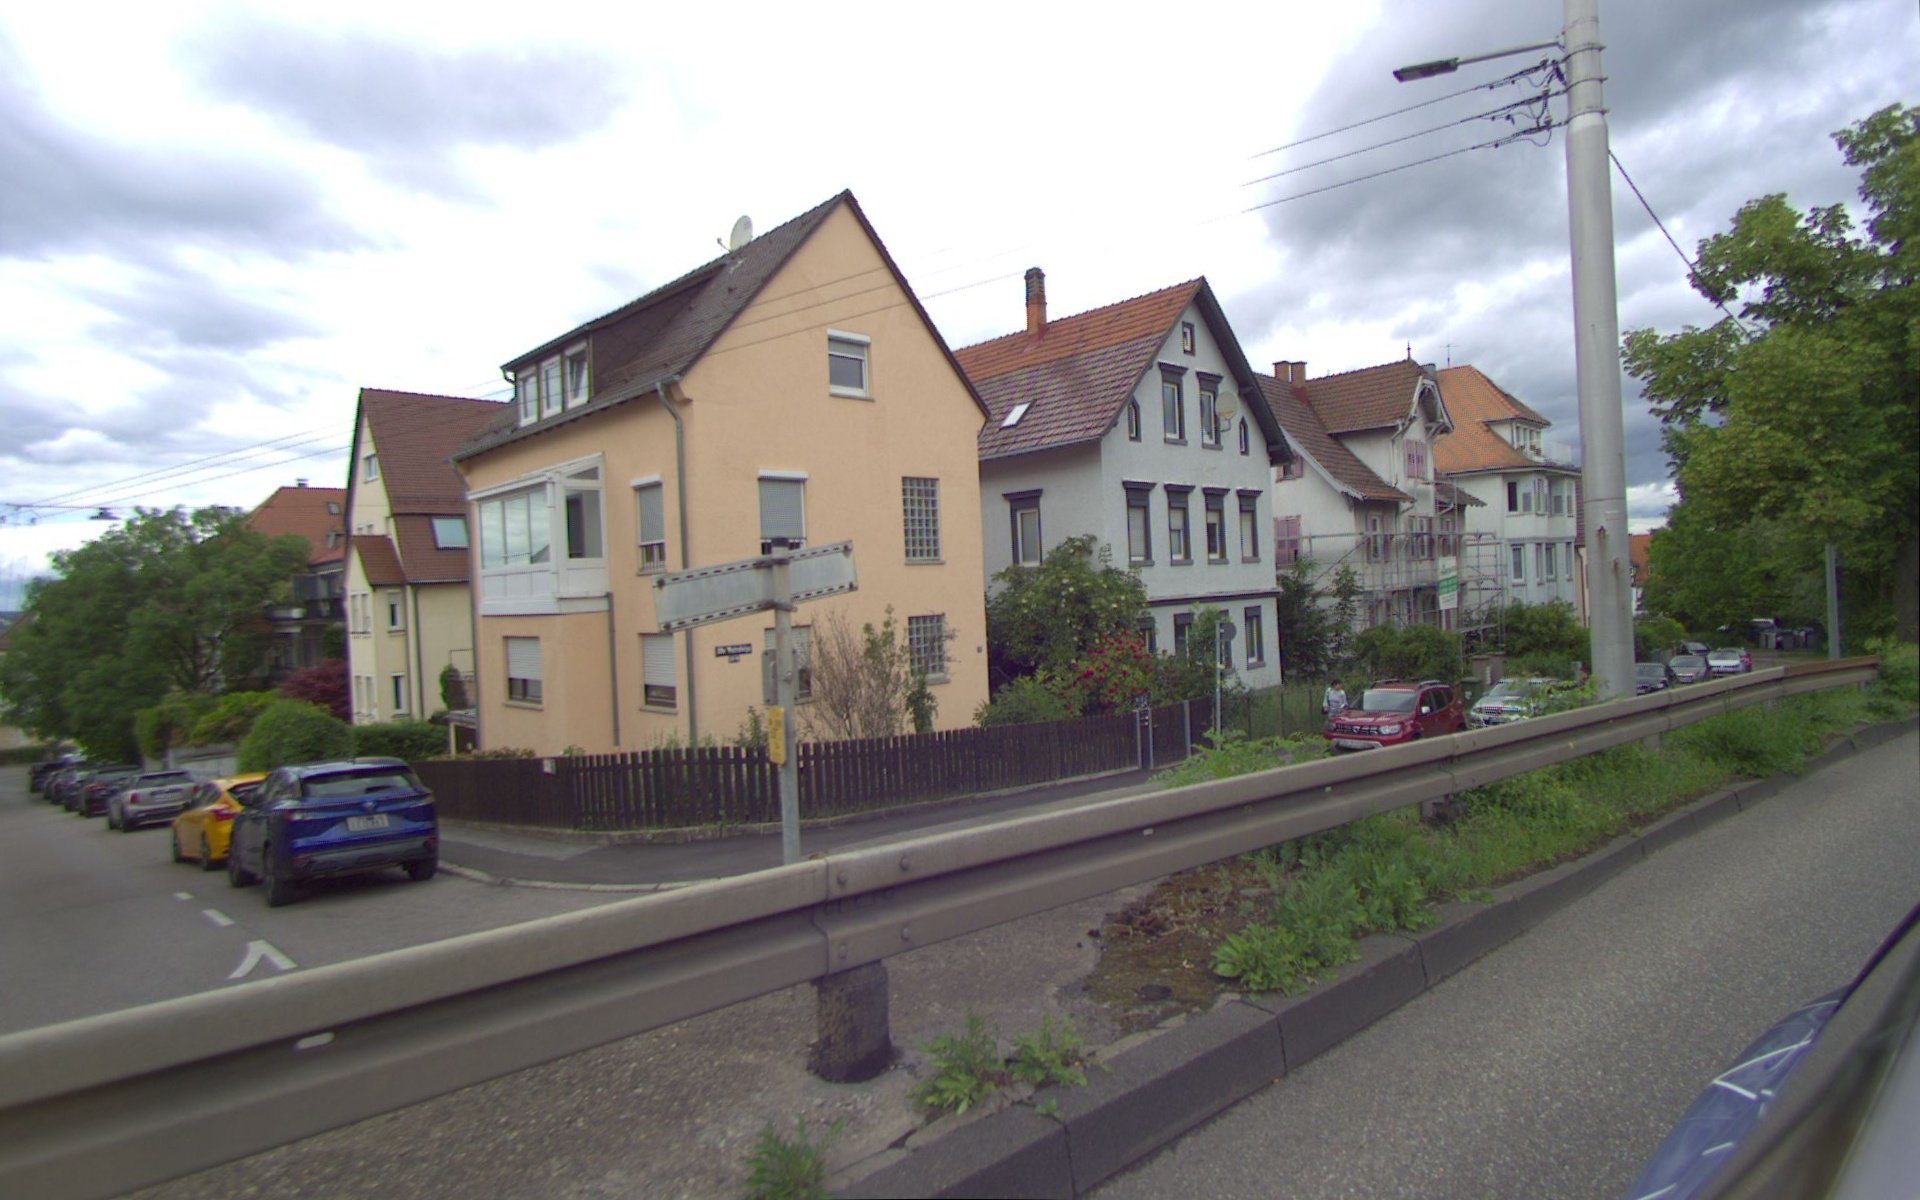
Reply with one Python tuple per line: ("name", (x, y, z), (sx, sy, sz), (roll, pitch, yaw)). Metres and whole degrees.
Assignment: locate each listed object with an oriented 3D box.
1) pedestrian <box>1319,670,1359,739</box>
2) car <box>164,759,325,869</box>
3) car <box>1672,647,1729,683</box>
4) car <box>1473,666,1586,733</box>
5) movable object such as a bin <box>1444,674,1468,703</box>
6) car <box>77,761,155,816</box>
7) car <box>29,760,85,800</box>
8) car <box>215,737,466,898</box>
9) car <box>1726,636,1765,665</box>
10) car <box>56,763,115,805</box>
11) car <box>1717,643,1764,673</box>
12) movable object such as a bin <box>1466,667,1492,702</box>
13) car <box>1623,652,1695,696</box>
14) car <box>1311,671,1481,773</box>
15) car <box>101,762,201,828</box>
("pedestrian", (8.620, 2.365, 23.013), (0.579, 1.500, 0.618), (1, -3, -43))
("car", (-12.414, 3.625, 17.463), (1.650, 1.481, 3.986), (1, -8, -45))
("car", (33.744, 2.912, 46.080), (1.618, 1.467, 3.967), (-3, -2, 42))
("car", (15.634, 2.651, 27.687), (1.619, 1.460, 4.362), (-3, -2, 44))
("movable object such as a bin", (16.552, 2.955, 33.757), (0.570, 0.893, 0.538), (0, 1, -39))
("car", (-29.442, 6.540, 35.272), (1.762, 1.595, 3.986), (1, -8, -45))
("car", (-48.976, 9.723, 54.860), (3.984, 1.825, 1.969), (-9, -7, 43))
("car", (-8.293, 2.796, 13.387), (1.967, 1.595, 3.986), (1, -9, -45))
("car", (45.498, 2.918, 58.560), (1.616, 1.541, 4.242), (-2, -2, 40))
("car", (-39.430, 8.278, 45.613), (1.762, 1.595, 3.986), (1, -8, -45))
("car", (41.877, 3.084, 54.286), (1.644, 1.413, 3.712), (-3, -2, 42))
("movable object such as a bin", (17.172, 2.795, 33.478), (0.528, 1.092, 0.580), (0, 1, -39))
("car", (27.115, 2.820, 39.229), (1.619, 1.467, 3.992), (-3, -2, 44))
("car", (9.127, 2.423, 21.038), (4.134, 1.692, 1.782), (1, -2, -45))
("car", (-21.548, 5.147, 26.900), (1.686, 1.425, 3.879), (1, -8, -45))
